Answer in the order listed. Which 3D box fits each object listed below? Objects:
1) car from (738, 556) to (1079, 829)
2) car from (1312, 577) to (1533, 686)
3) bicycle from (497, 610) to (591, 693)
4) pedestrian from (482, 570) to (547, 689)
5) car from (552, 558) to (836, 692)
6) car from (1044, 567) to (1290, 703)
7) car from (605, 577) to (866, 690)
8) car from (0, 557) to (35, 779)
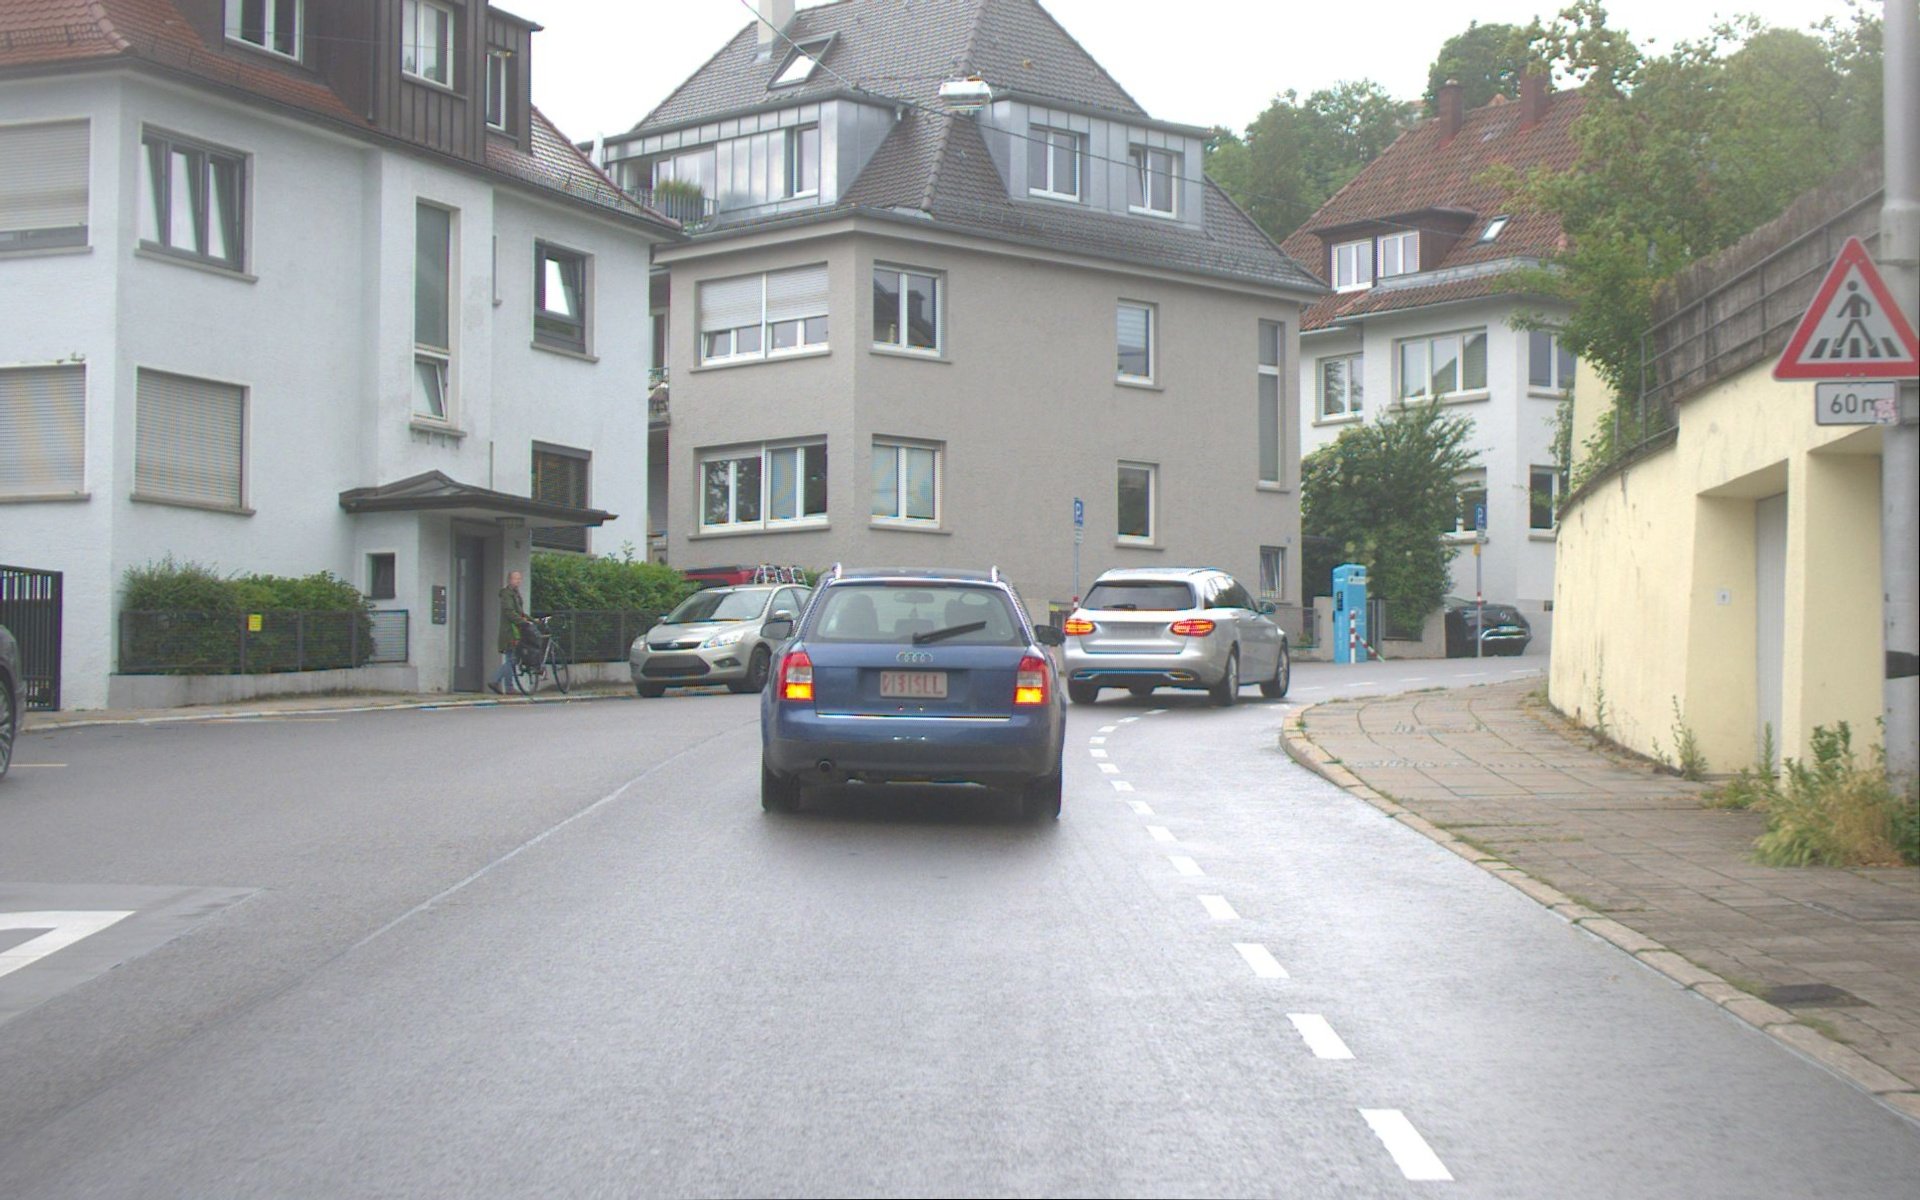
[{"bbox_3d":[-0.263,0.478,20.791,1.811,1.434,4.081,2,1,1],"label":"car"},{"bbox_3d":[9.415,0.660,70.262,1.994,1.618,4.252,-1,-8,-35],"label":"car"},{"bbox_3d":[-5.512,0.669,45.654,0.456,1.063,1.920,0,0,19],"label":"bicycle"},{"bbox_3d":[-5.939,0.390,45.854,0.493,1.572,0.947,0,0,18],"label":"pedestrian"},{"bbox_3d":[-4.283,0.410,55.351,3.993,1.817,1.997,-5,-2,28],"label":"car"},{"bbox_3d":[2.319,0.412,37.555,1.813,1.356,3.996,2,-1,16],"label":"car"},{"bbox_3d":[-2.981,0.435,46.576,1.838,1.420,4.225,-2,0,22],"label":"car"},{"bbox_3d":[-7.342,0.457,21.359,1.829,1.481,4.991,0,0,0],"label":"car"}]
